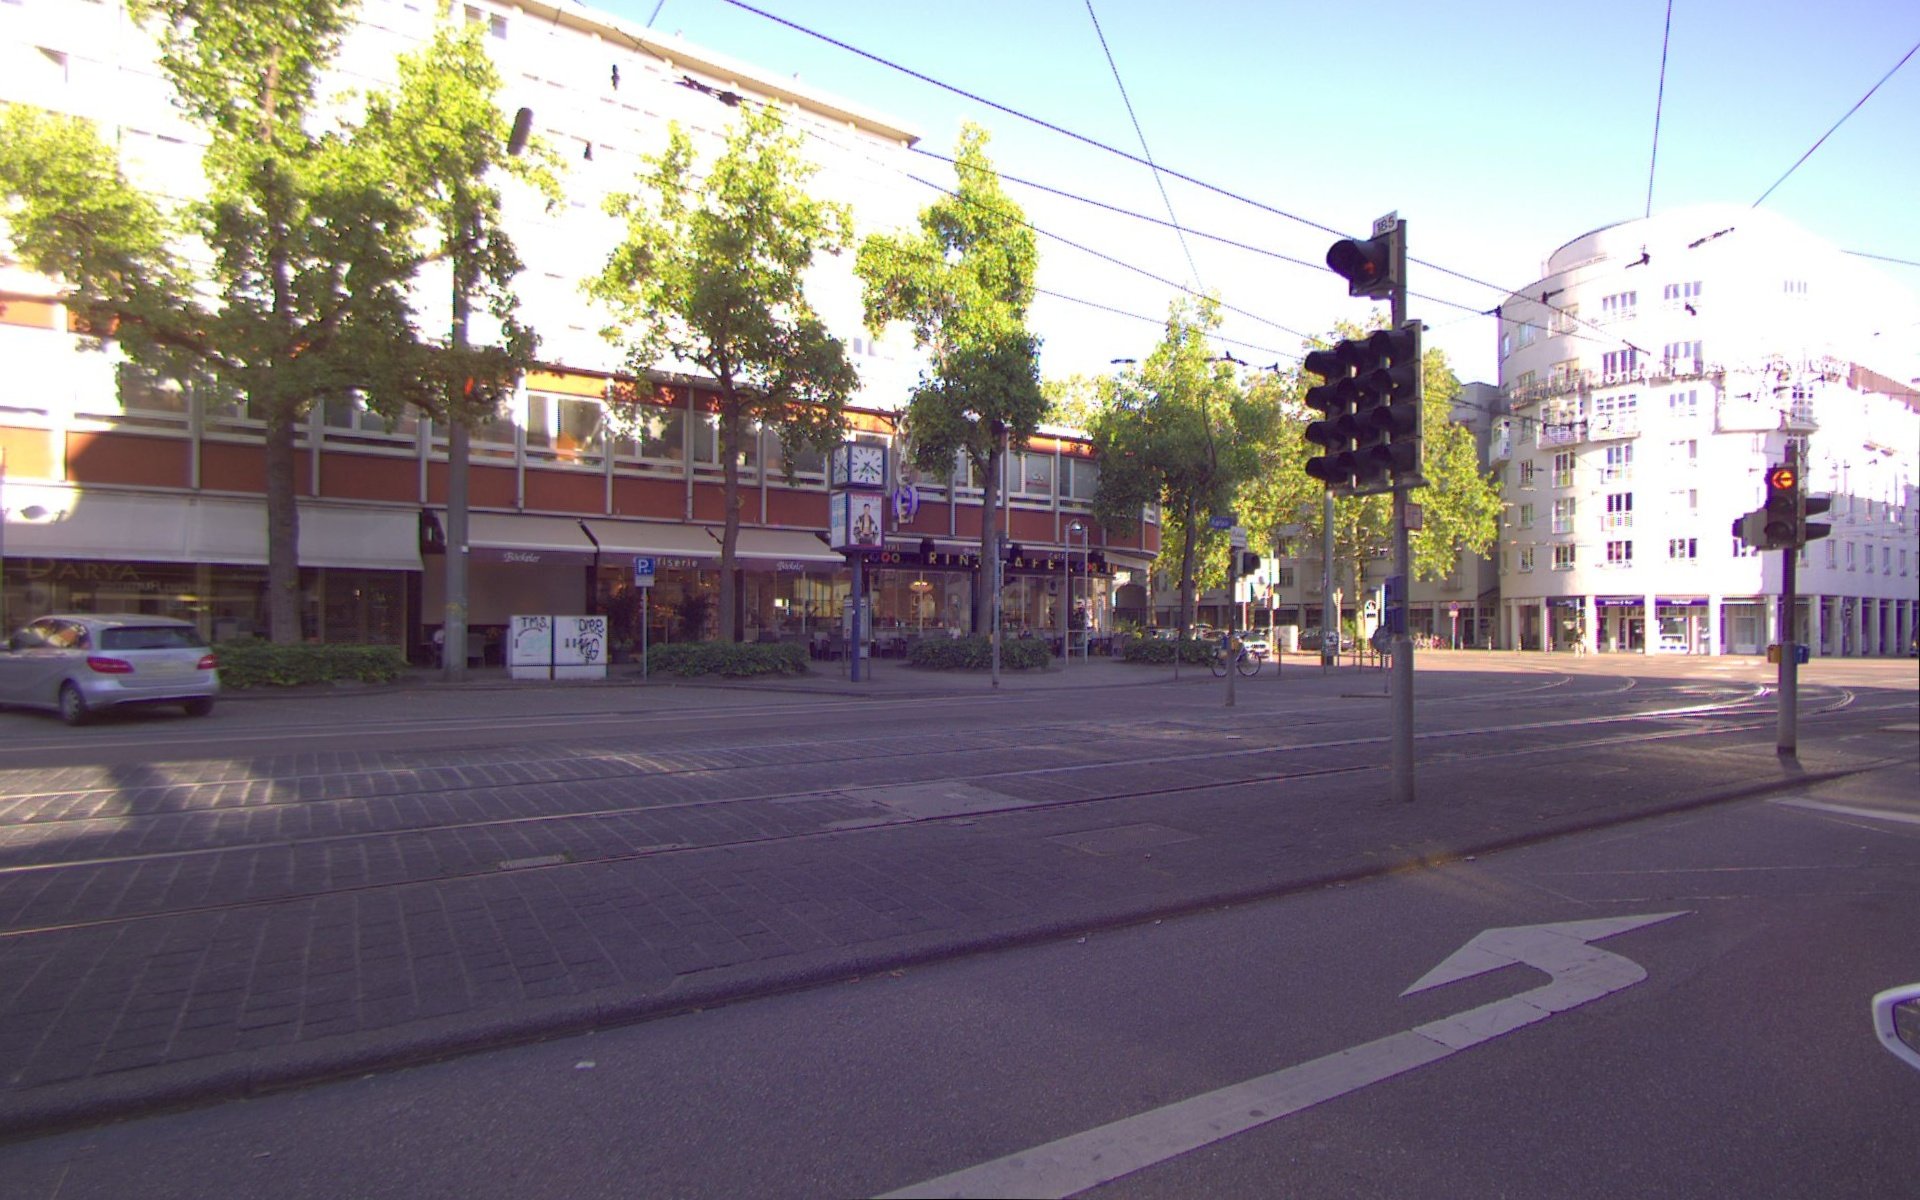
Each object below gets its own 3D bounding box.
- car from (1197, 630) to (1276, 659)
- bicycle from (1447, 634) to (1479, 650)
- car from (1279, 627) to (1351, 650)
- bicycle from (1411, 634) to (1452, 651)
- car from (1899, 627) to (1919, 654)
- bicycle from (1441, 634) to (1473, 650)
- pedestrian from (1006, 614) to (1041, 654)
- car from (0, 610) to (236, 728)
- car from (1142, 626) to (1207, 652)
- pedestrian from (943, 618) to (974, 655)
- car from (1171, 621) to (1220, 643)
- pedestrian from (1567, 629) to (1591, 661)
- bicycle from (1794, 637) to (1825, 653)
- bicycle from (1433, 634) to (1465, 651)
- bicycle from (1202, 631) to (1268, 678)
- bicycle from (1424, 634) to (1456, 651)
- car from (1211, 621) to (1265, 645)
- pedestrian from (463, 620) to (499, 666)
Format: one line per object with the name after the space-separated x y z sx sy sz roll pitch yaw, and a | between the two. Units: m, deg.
14.006 2.252 51.220 1.860 1.440 4.442 1 -2 -16 | car
35.990 2.995 71.919 0.809 1.122 1.933 1 -1 -30 | bicycle
23.597 2.535 66.905 1.867 1.440 4.423 0 -2 -28 | car
32.337 2.923 68.926 2.410 1.122 0.932 -1 -2 44 | bicycle
58.822 2.447 60.757 4.463 1.641 1.982 1 -2 -34 | car
35.311 2.985 71.386 0.809 1.122 1.933 1 -1 -30 | bicycle
2.313 1.239 36.652 0.880 1.414 0.929 1 -1 -31 | pedestrian
-13.432 0.983 15.672 3.925 1.574 1.796 1 0 26 | car
12.361 2.261 58.125 1.860 1.440 4.442 1 -2 -16 | car
-0.052 1.268 34.842 0.893 1.280 0.837 1 -1 -17 | pedestrian
19.588 2.677 83.401 3.960 1.738 1.783 2 -2 -35 | car
34.466 2.508 55.948 0.687 1.704 0.866 -1 -1 -24 | pedestrian
51.523 2.728 60.937 2.240 0.939 0.836 1 -1 -33 | bicycle
34.350 2.970 70.626 0.808 1.122 1.934 1 -1 -27 | bicycle
7.543 1.472 27.509 1.833 1.251 0.578 1 0 -28 | bicycle
33.492 2.959 70.157 0.808 1.122 1.934 1 -1 -27 | bicycle
20.952 2.465 75.670 3.960 1.738 1.783 2 -2 -35 | car
-12.599 1.131 26.403 0.721 1.187 0.771 1 -1 -36 | pedestrian
